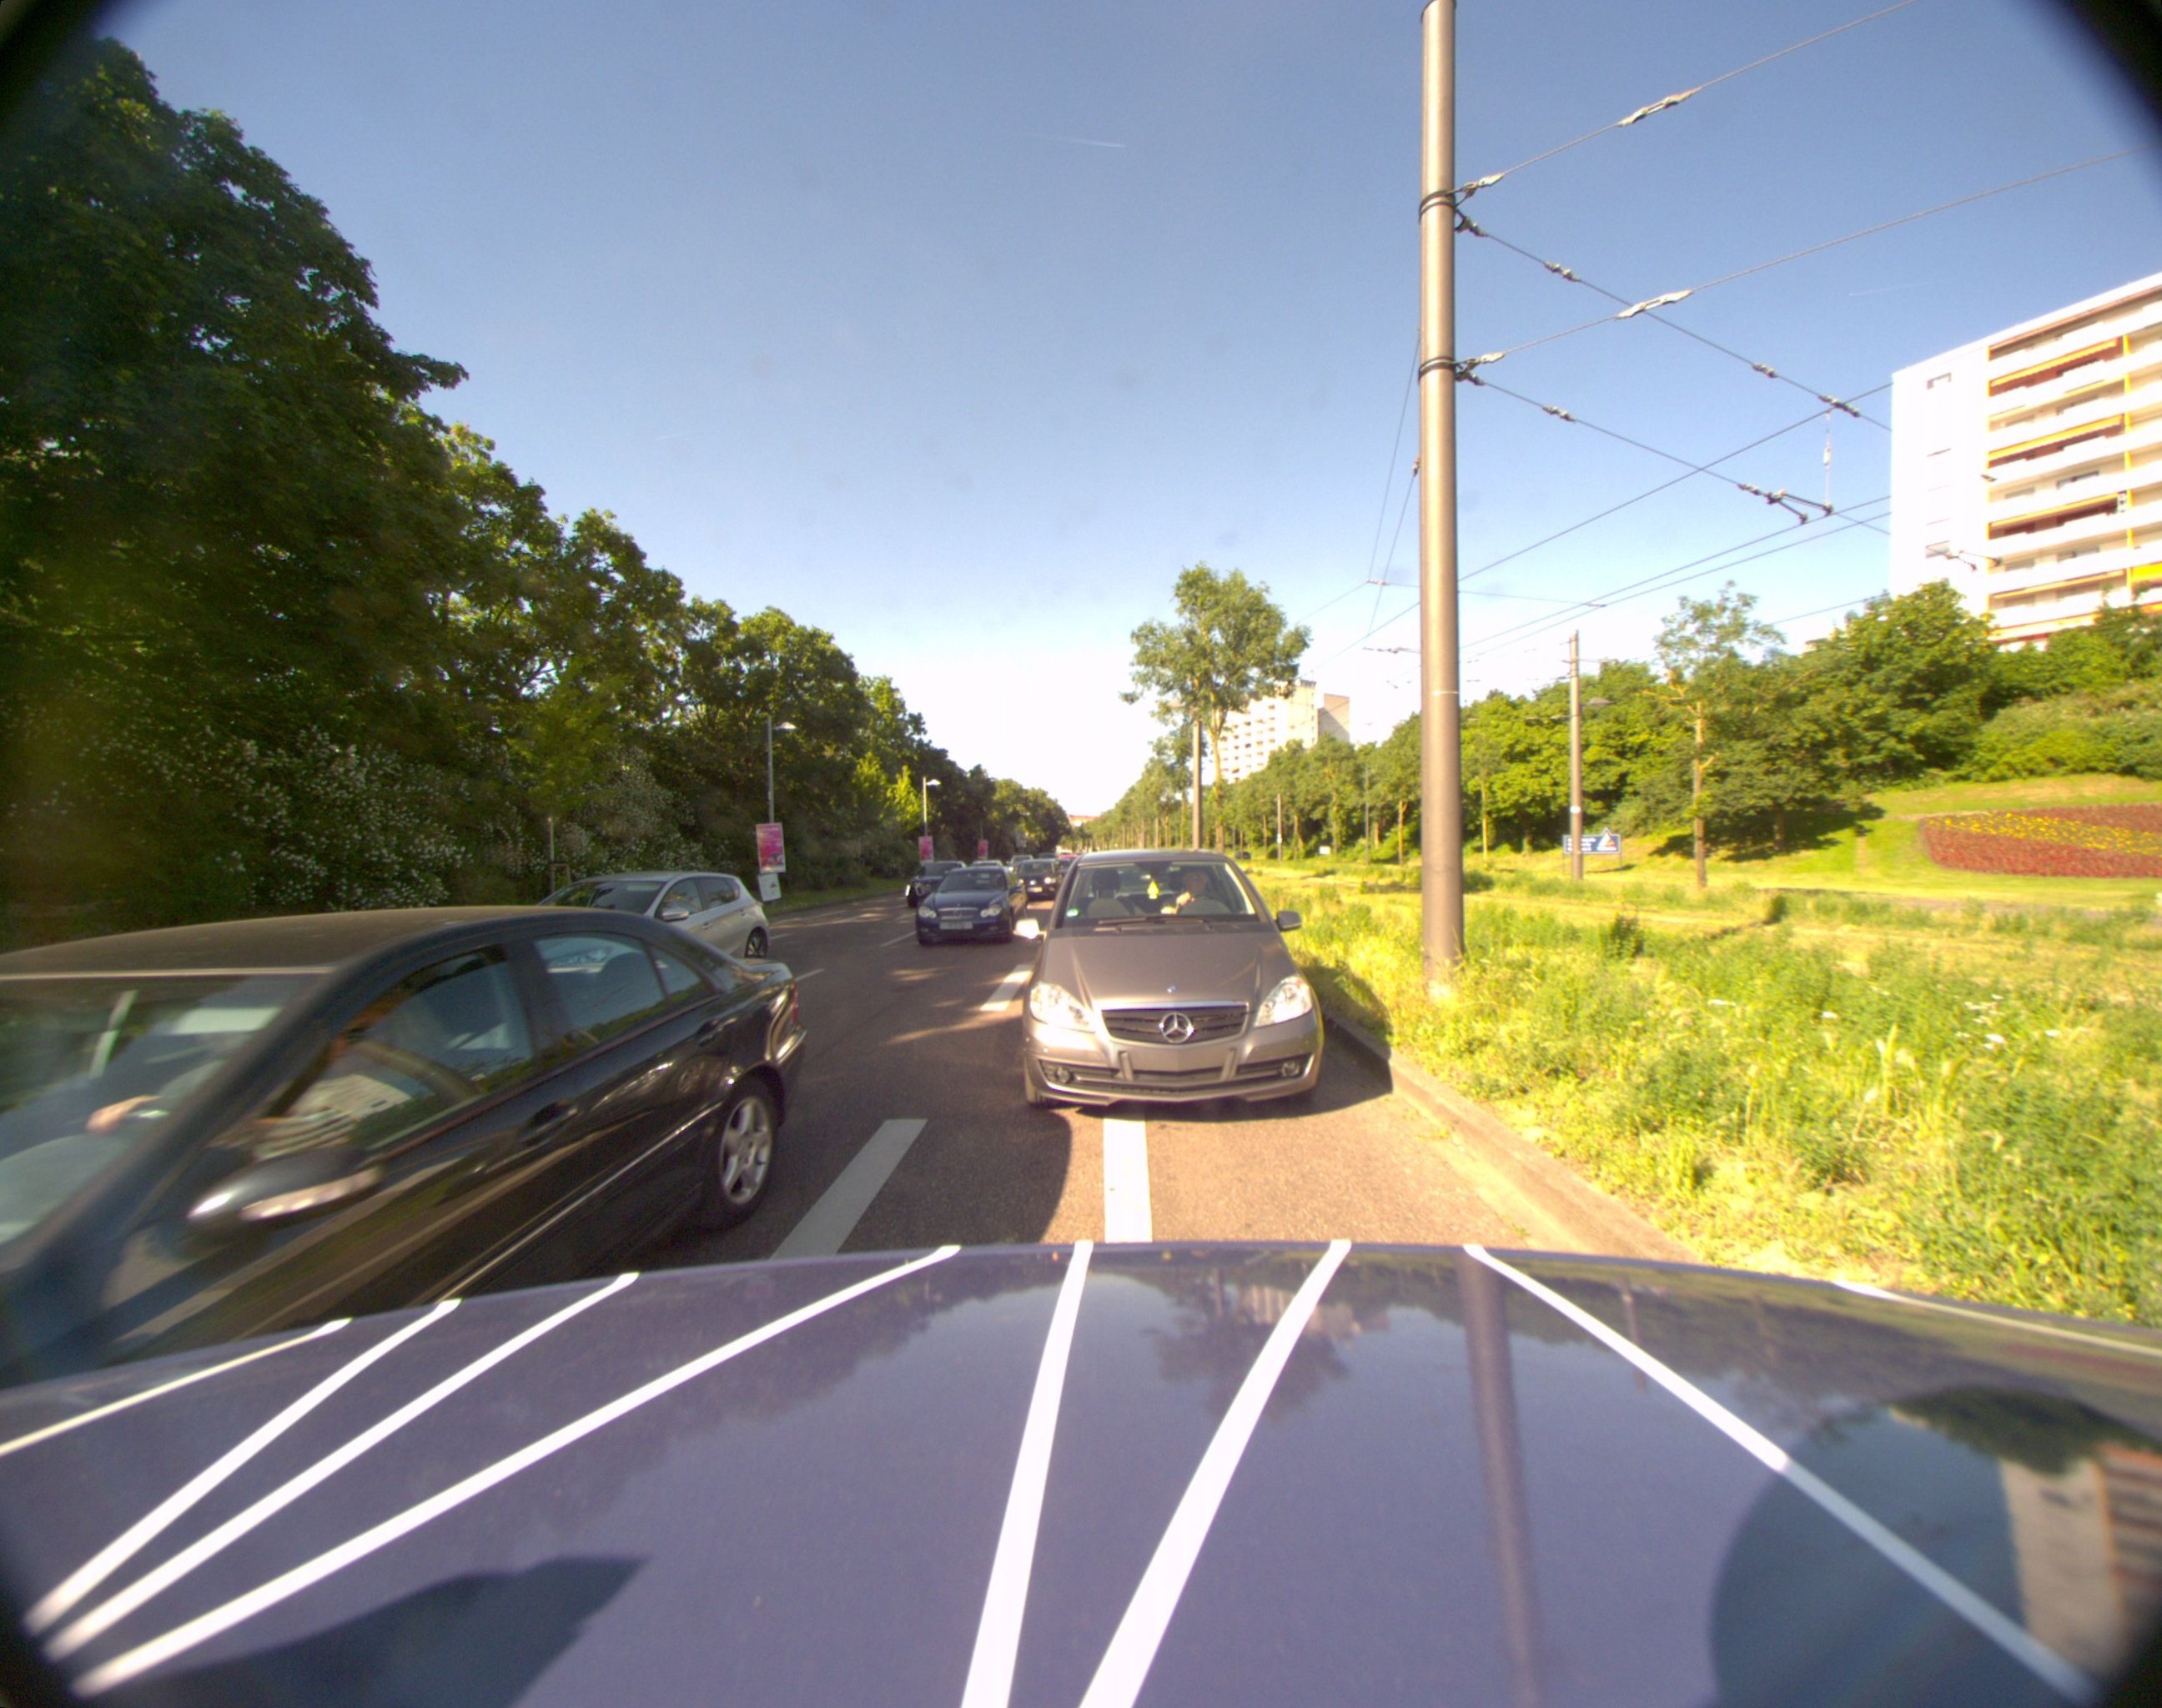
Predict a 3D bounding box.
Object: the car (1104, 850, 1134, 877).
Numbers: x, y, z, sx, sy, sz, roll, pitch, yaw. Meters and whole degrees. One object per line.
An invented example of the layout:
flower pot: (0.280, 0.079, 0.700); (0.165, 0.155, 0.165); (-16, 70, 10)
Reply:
car: (2.407, 0.610, 49.153); (1.749, 1.652, 4.000); (-1, 0, 1)

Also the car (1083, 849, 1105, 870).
car: (1.100, 0.409, 63.876); (1.749, 1.652, 3.999); (-2, 1, 1)

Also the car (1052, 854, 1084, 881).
car: (-0.760, 0.778, 46.206); (1.685, 1.437, 3.727); (-2, 1, 2)

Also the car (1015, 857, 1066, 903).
car: (-1.409, 0.902, 27.653); (1.621, 1.485, 3.452); (-2, 0, 0)

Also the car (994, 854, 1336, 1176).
car: (0.473, 0.856, 6.020); (1.749, 1.630, 4.000); (-2, 0, 1)

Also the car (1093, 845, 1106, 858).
car: (2.469, -0.331, 99.987); (1.630, 1.556, 3.812); (-2, 1, 1)

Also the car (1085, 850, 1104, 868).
car: (1.266, 0.439, 73.732); (1.749, 1.652, 3.999); (-2, 1, 1)

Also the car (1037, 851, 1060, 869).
car: (-2.824, 0.505, 67.293); (1.713, 1.485, 3.963); (-2, 0, 1)

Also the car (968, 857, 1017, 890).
car: (-4.353, 0.916, 37.882); (1.749, 1.427, 4.386); (-2, 1, 2)

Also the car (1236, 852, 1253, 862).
car: (22.485, 0.395, 104.614); (1.578, 1.412, 3.909); (-1, 0, 1)

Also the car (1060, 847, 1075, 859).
car: (-1.766, -0.095, 98.784); (1.713, 1.485, 3.963); (-2, 0, 1)

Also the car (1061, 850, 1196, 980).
car: (0.666, 0.806, 12.176); (1.749, 1.652, 3.999); (-2, 1, 1)

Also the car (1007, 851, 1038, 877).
car: (-3.887, 0.655, 51.041); (1.749, 1.652, 4.000); (-1, 0, 1)

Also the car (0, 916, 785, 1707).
car: (-2.402, 1.061, 1.895); (1.717, 1.445, 4.197); (-1, 0, -1)

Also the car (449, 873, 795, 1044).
car: (-5.304, 1.083, 9.562); (1.726, 1.508, 4.137); (-2, 0, 1)

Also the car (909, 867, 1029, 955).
car: (-2.079, 1.022, 15.216); (1.723, 1.411, 4.050); (-1, 0, 1)

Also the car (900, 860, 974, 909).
car: (-4.951, 0.997, 26.574); (1.713, 1.485, 3.963); (-2, 0, 1)

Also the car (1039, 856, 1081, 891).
car: (-0.897, 0.847, 35.212); (1.713, 1.430, 4.171); (-2, 0, 1)
